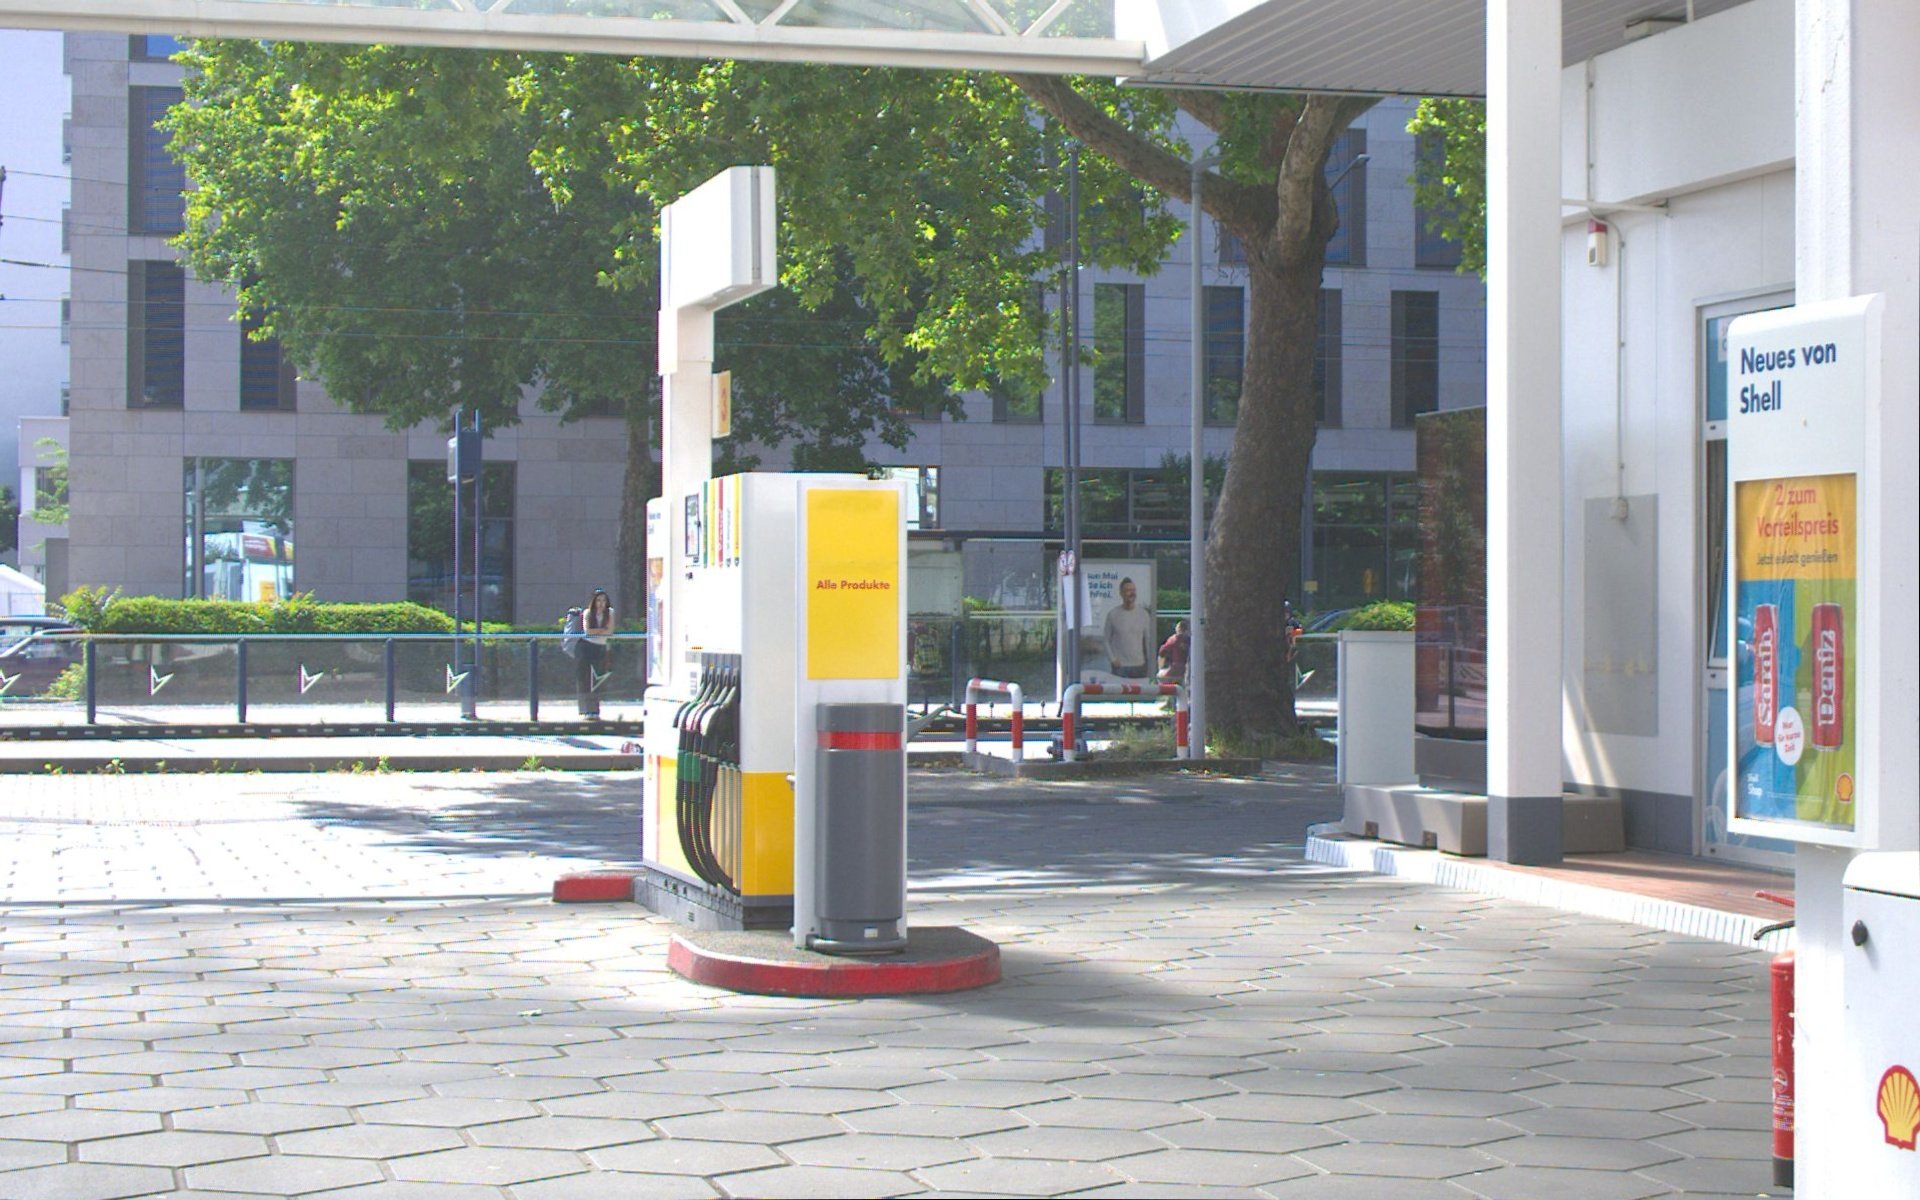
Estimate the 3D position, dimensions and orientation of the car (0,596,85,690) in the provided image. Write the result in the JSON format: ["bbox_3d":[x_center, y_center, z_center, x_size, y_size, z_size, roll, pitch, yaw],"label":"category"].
[{"bbox_3d":[-16.718,0.702,57.268,3.986,1.547,1.703,0,0,-20],"label":"car"}]

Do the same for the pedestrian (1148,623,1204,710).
[{"bbox_3d":[2.858,0.877,45.503,0.628,1.134,0.524,0,0,-8],"label":"pedestrian"}]

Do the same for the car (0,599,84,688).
[{"bbox_3d":[-17.354,0.752,60.384,3.681,1.547,1.592,0,0,-20],"label":"car"}]

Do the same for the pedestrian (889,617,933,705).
[{"bbox_3d":[-0.631,0.790,44.528,0.499,1.134,0.524,0,0,-8],"label":"pedestrian"}]

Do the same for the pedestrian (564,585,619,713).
[{"bbox_3d":[-4.646,0.609,43.342,0.583,1.586,0.670,0,1,-15],"label":"pedestrian"}]
